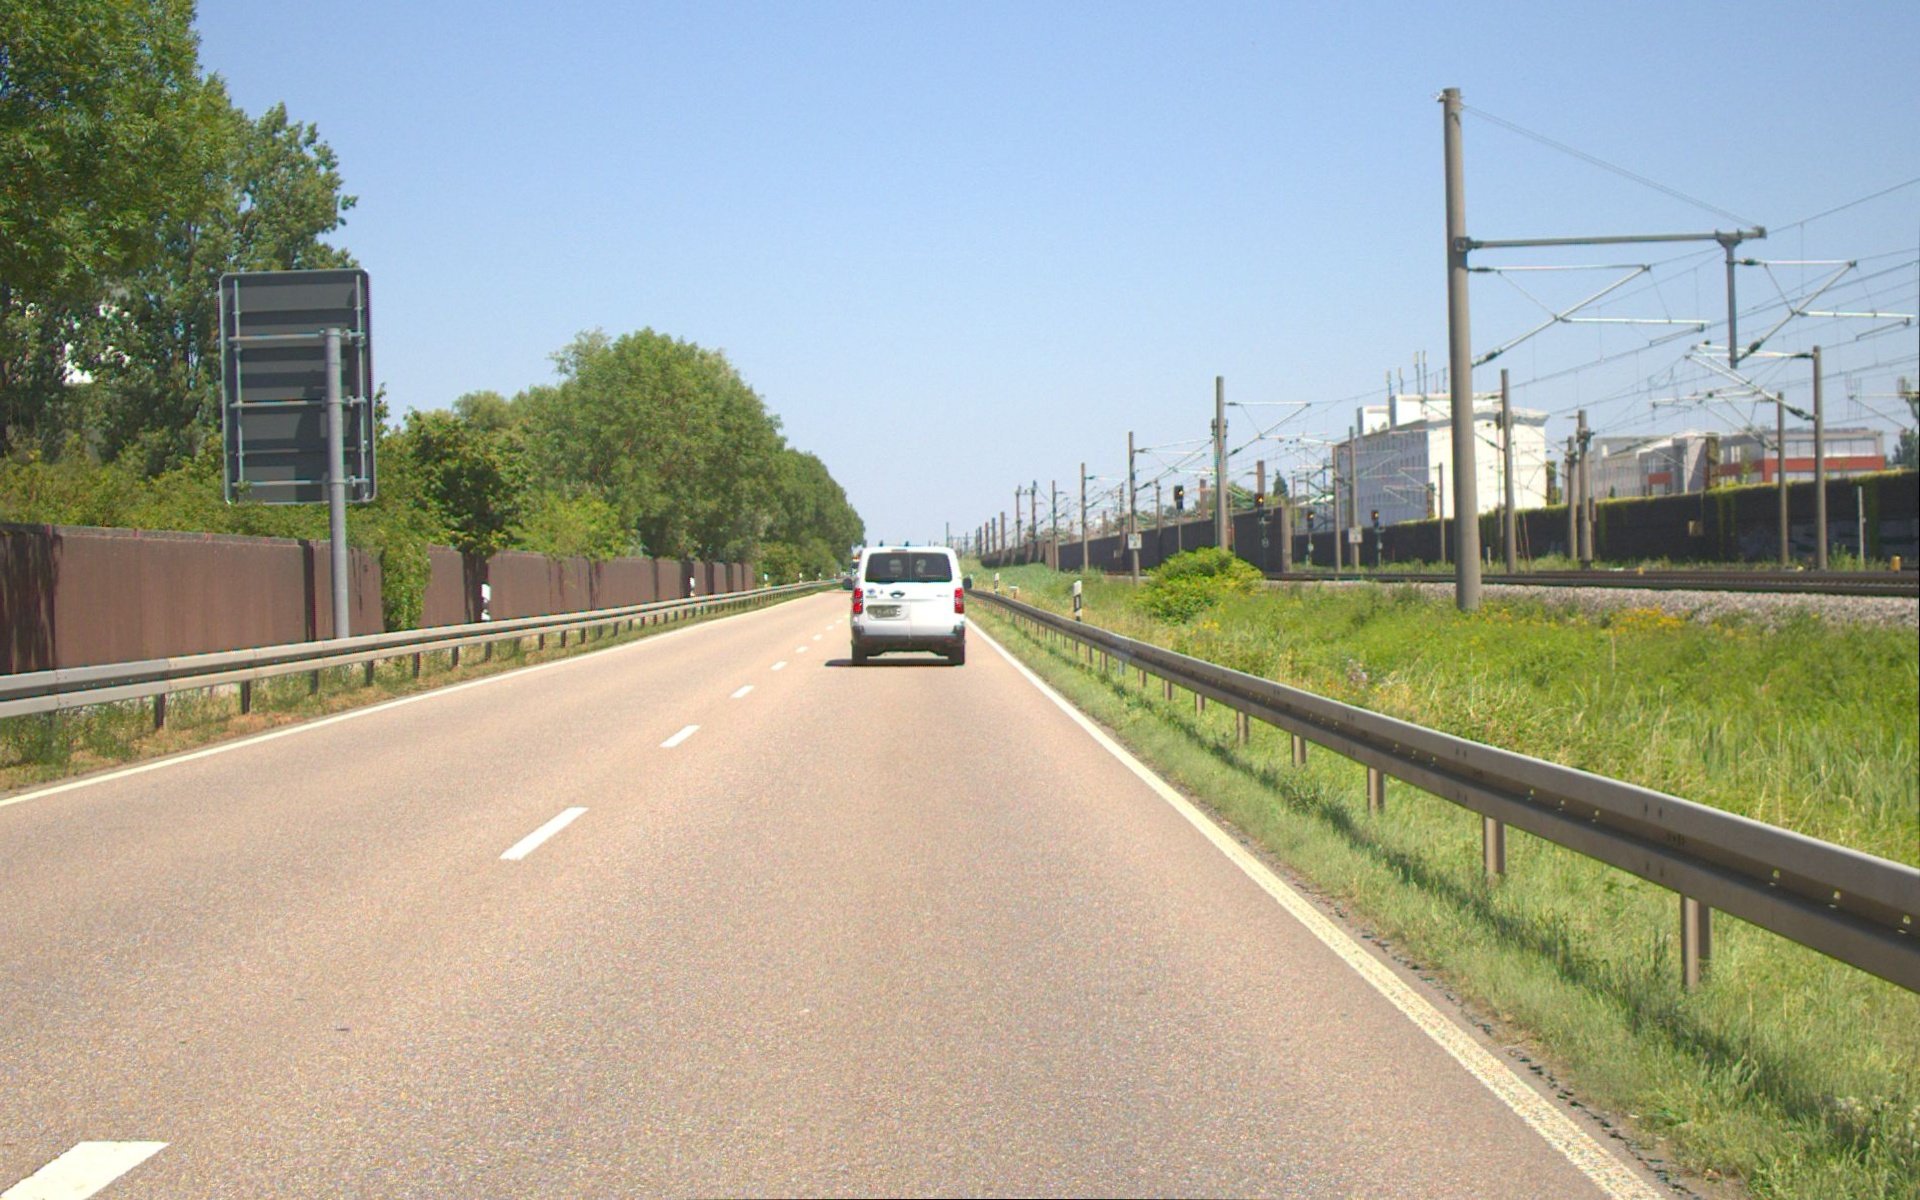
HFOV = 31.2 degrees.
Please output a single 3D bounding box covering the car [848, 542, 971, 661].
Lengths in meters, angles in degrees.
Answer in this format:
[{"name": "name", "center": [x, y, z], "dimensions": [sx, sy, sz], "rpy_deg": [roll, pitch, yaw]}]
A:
[{"name": "car", "center": [-0.829, 0.013, 56.998], "dimensions": [1.945, 1.875, 4.881], "rpy_deg": [0, 0, -1]}]
